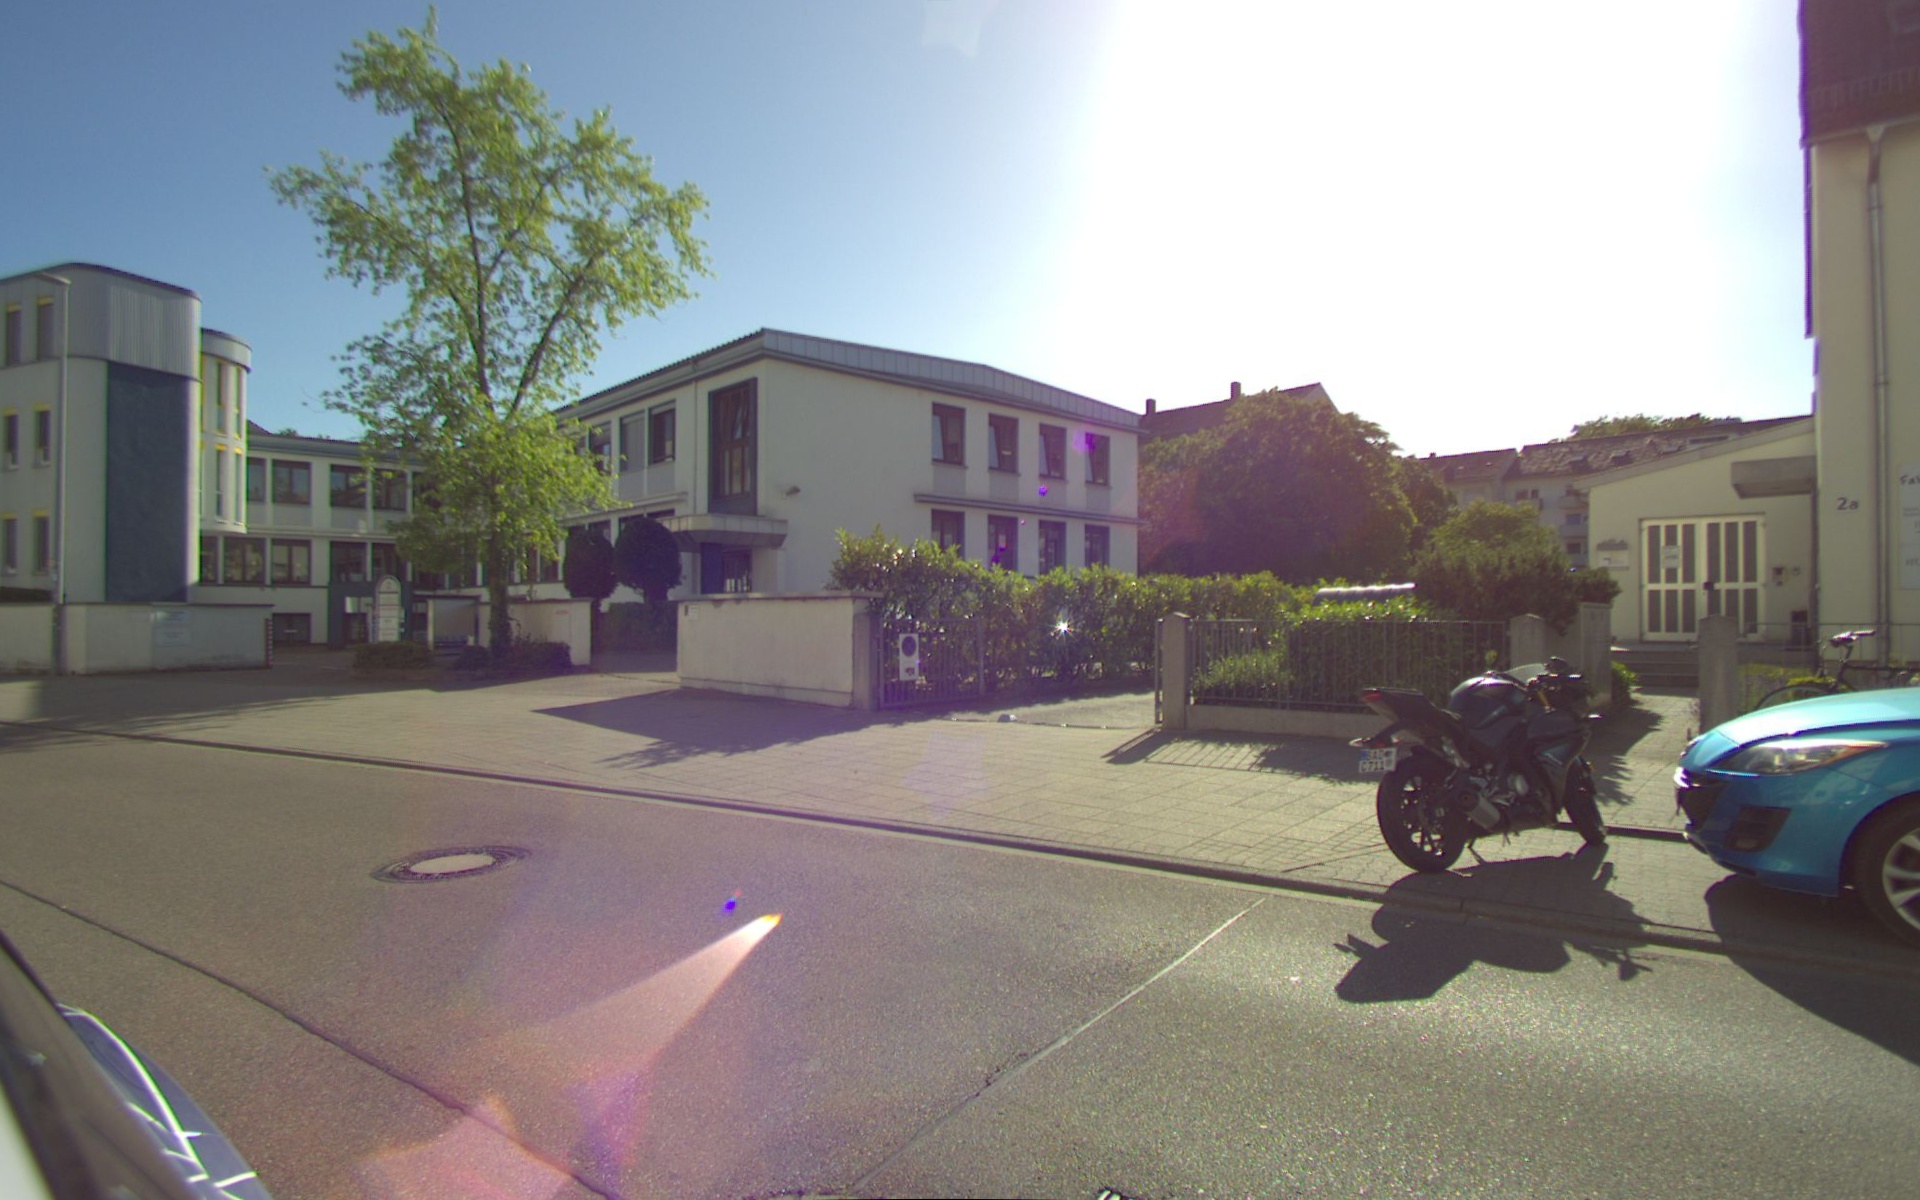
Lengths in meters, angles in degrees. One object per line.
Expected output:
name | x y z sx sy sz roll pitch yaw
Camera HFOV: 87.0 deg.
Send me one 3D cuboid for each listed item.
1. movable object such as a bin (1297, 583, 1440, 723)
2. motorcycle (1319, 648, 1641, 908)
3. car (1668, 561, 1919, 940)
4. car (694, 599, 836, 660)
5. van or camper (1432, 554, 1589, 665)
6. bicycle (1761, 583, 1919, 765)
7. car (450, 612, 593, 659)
movable object such as a bin | 4.810 0.577 11.885 1.225 1.501 1.270 2 0 38
motorcycle | 2.983 0.869 5.697 2.033 1.027 0.948 -4 1 -43
car | 5.379 0.557 3.889 4.321 1.484 1.782 -1 0 36
car | -5.313 0.763 27.313 3.847 1.431 1.739 2 0 41
van or camper | 13.454 0.271 24.554 2.150 2.416 5.161 0 -1 42
bicycle | 6.991 0.537 7.223 1.923 1.259 0.452 2 0 34
car | -15.564 1.211 36.069 1.923 1.552 4.280 -2 -1 39
